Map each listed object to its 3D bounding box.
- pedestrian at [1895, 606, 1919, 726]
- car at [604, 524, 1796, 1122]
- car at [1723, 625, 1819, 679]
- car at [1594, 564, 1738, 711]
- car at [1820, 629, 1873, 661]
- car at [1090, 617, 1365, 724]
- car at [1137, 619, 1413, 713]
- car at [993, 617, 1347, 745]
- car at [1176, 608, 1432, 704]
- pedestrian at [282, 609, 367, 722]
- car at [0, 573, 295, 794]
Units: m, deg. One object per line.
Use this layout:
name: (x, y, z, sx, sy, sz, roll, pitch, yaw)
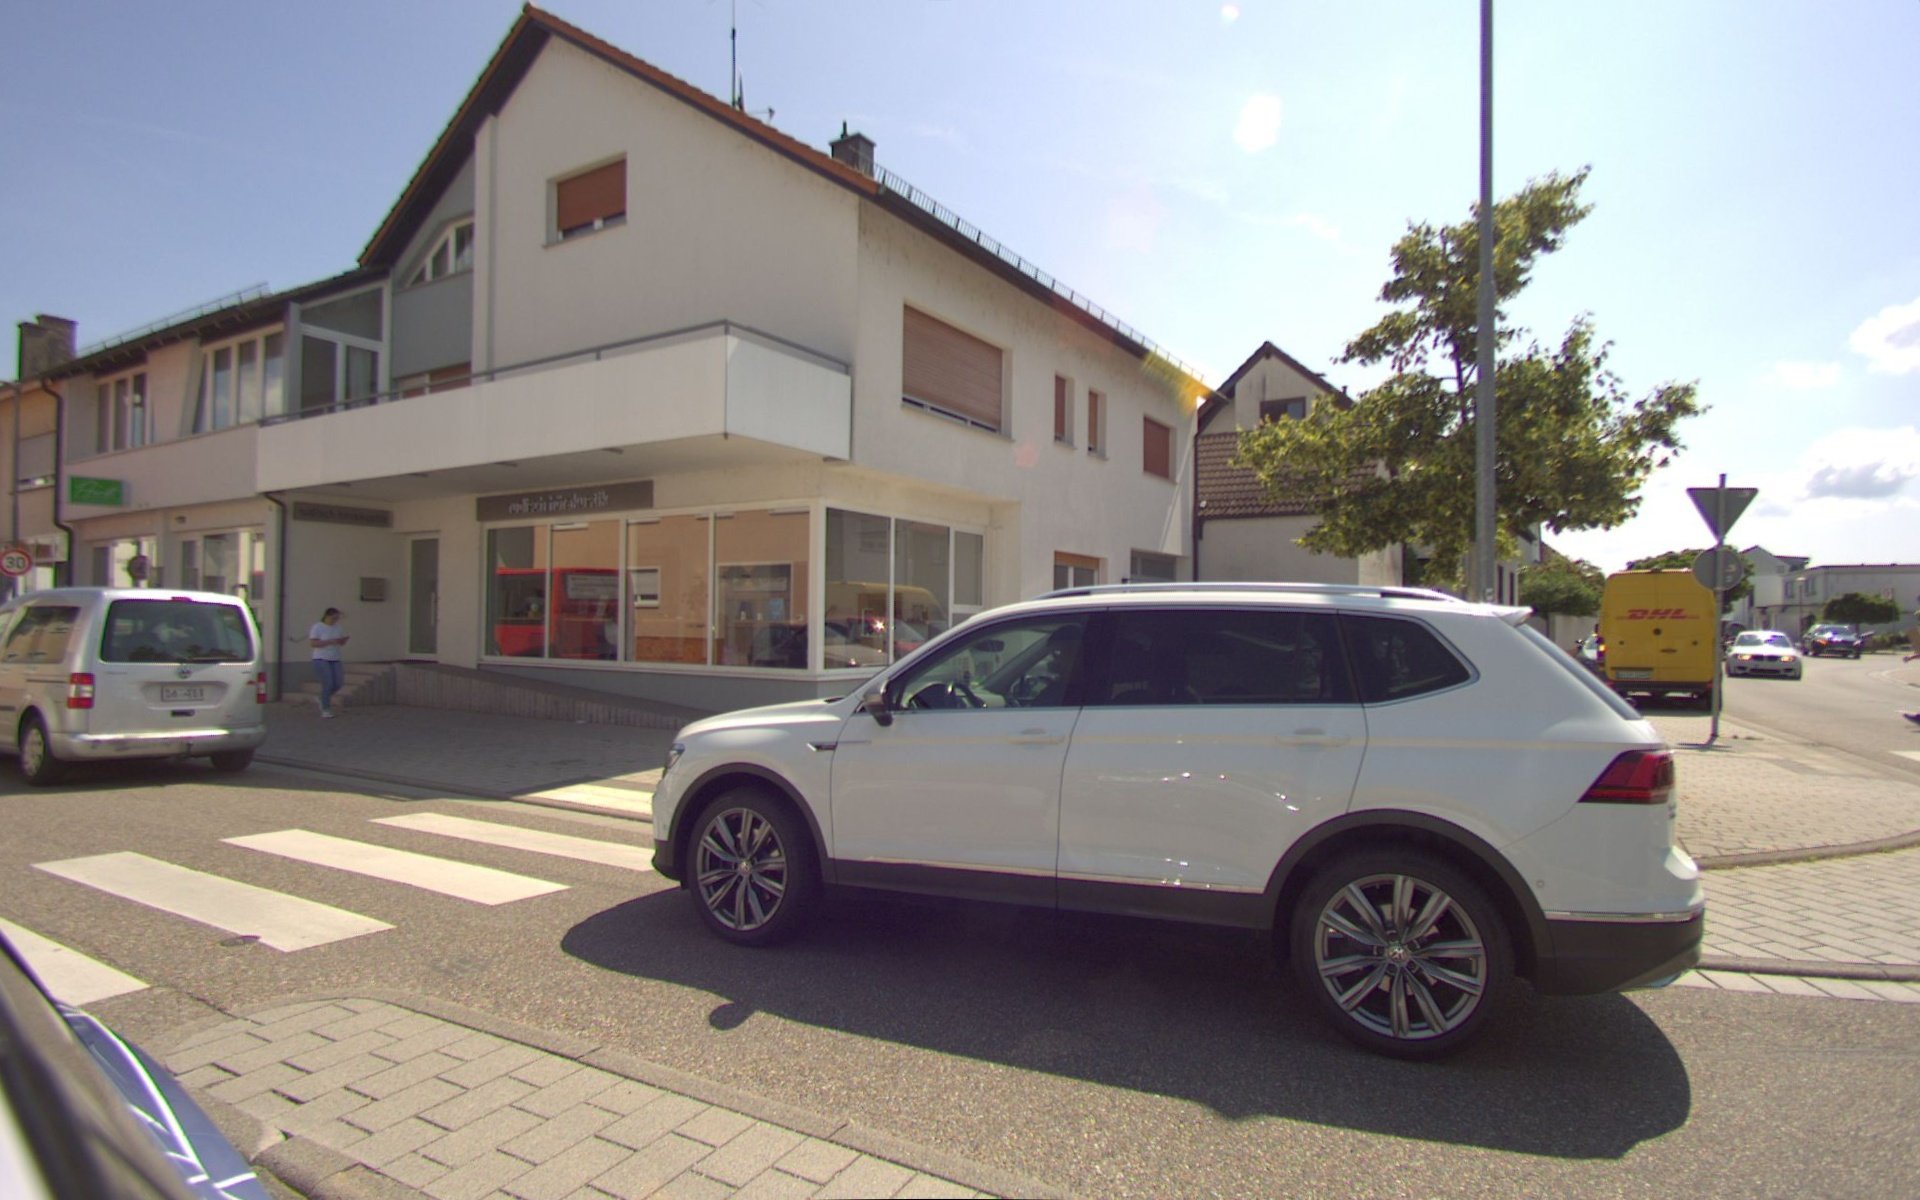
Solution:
pedestrian: (15.333, 1.005, 15.671, 1.019, 1.839, 0.775, -2, -2, 30)
car: (0.743, 0.700, 4.753, 4.516, 1.723, 1.856, 0, -4, 25)
car: (25.442, 1.589, 31.901, 1.875, 1.460, 4.287, 0, 0, 32)
car: (14.487, 0.768, 20.767, 2.109, 2.592, 5.615, -1, -3, 36)
car: (43.782, 2.195, 49.943, 1.880, 1.361, 4.355, 0, 1, 43)
car: (4.259, 1.041, 16.223, 3.949, 1.488, 1.734, 0, -1, 31)
car: (5.633, 1.103, 18.241, 4.462, 1.461, 1.817, 0, -1, 31)
car: (2.838, 1.003, 14.002, 4.462, 1.461, 1.817, 0, -1, 31)
car: (7.065, 1.079, 20.940, 4.732, 1.752, 1.966, 0, -1, 31)
pedestrian: (-9.436, 0.942, 15.026, 0.954, 1.595, 0.749, 0, 0, 33)
car: (-8.922, 0.750, 10.316, 4.425, 1.835, 1.759, -1, -3, 31)
